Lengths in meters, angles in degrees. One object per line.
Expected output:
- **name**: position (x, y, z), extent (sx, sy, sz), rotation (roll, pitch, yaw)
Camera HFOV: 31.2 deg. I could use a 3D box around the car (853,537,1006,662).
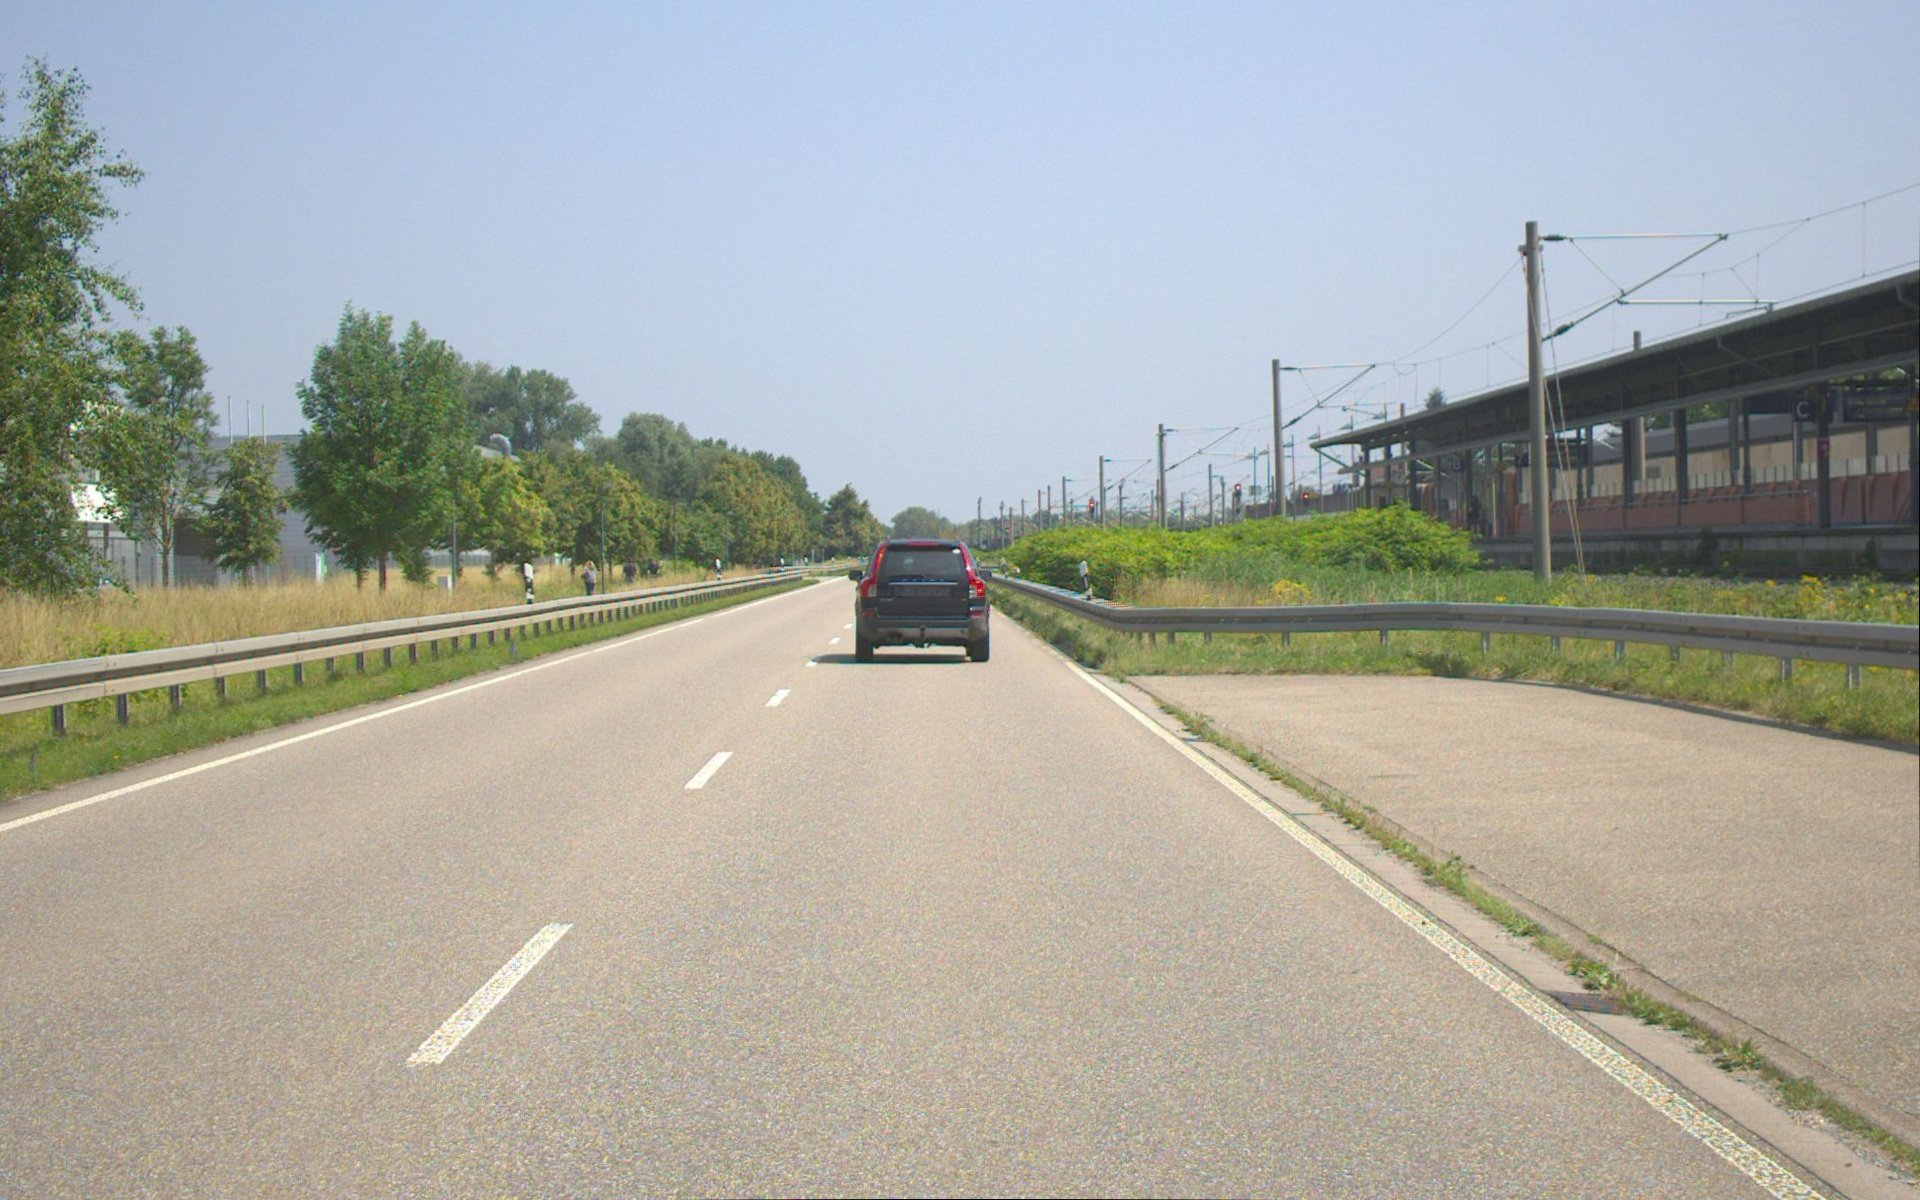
- **car**: position (-0.482, -0.043, 48.885), extent (1.993, 1.694, 4.001), rotation (0, 1, -3)
